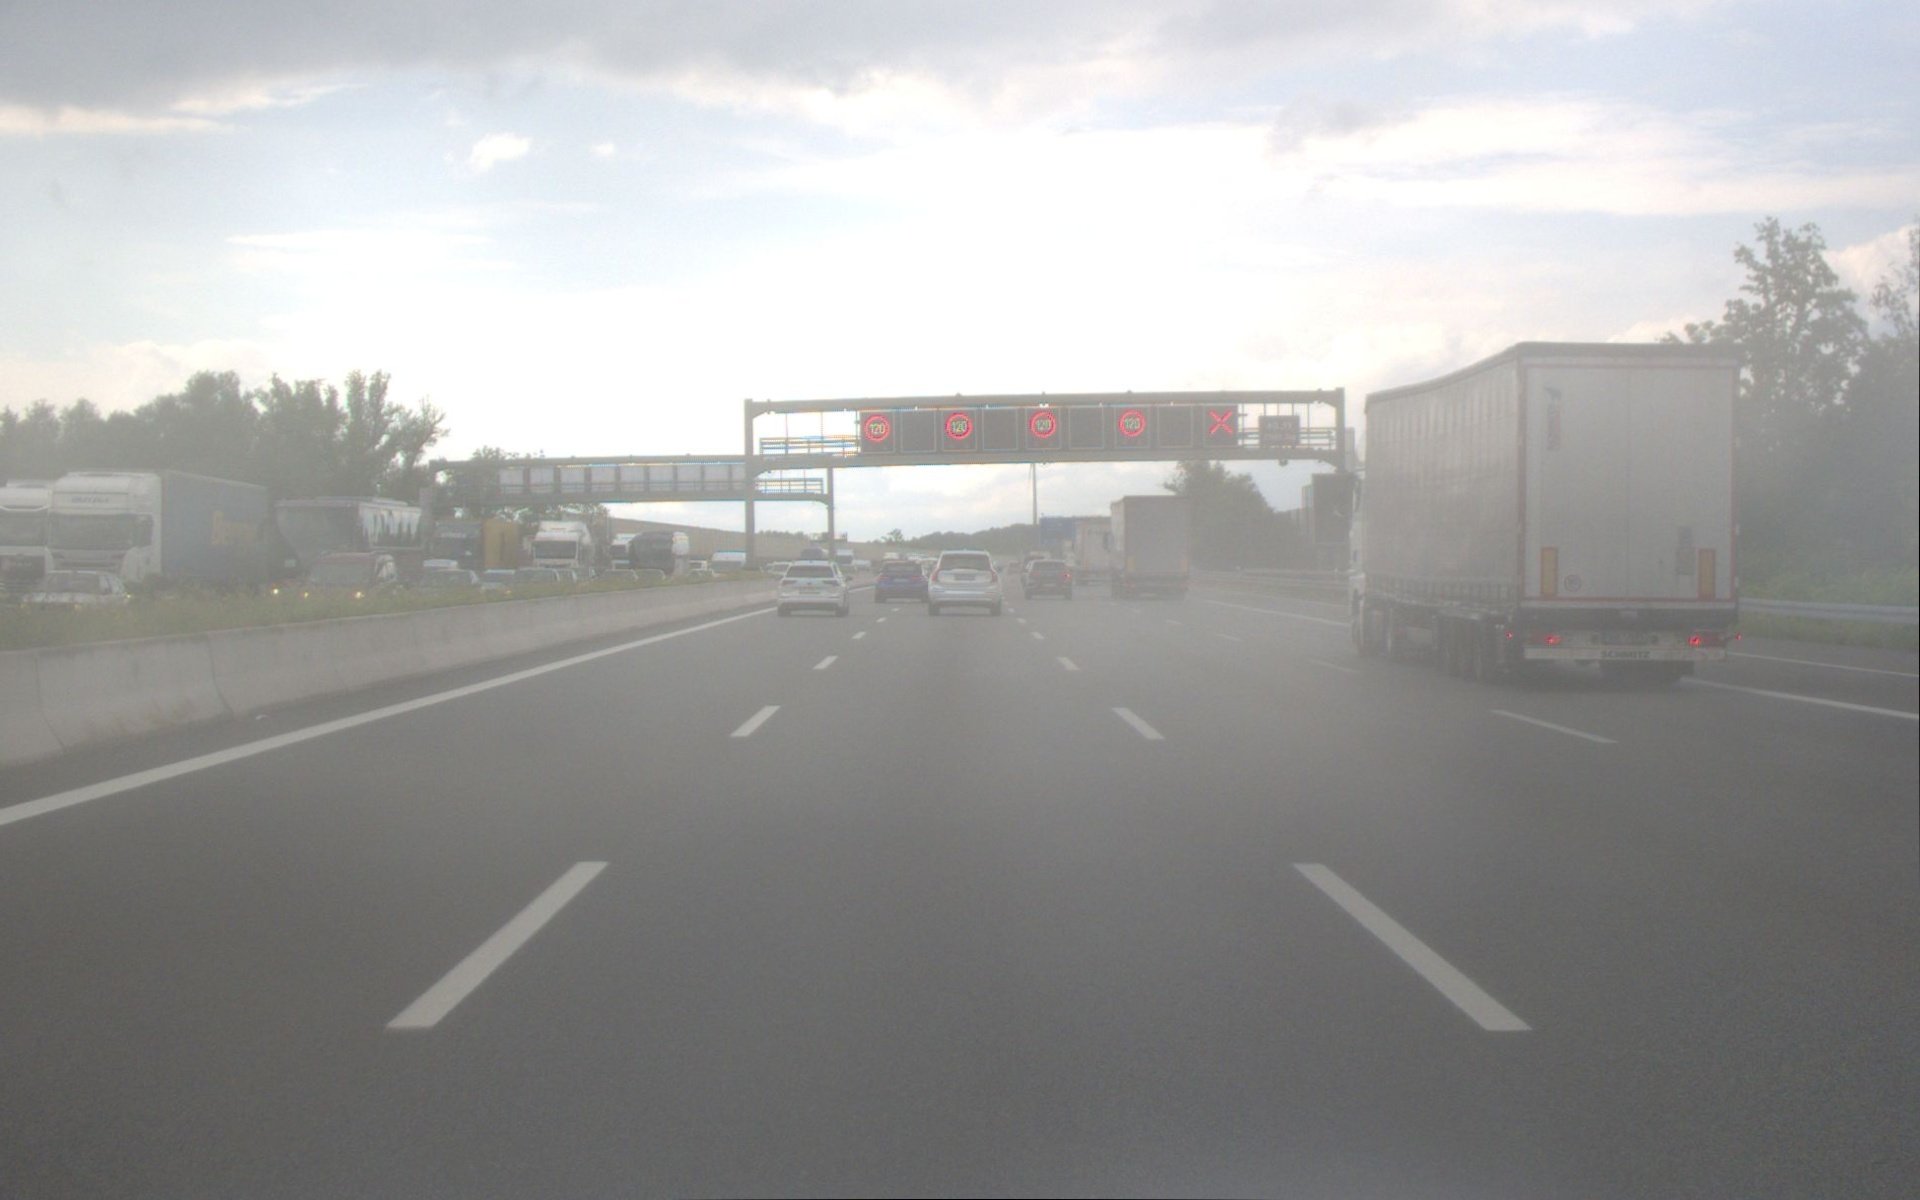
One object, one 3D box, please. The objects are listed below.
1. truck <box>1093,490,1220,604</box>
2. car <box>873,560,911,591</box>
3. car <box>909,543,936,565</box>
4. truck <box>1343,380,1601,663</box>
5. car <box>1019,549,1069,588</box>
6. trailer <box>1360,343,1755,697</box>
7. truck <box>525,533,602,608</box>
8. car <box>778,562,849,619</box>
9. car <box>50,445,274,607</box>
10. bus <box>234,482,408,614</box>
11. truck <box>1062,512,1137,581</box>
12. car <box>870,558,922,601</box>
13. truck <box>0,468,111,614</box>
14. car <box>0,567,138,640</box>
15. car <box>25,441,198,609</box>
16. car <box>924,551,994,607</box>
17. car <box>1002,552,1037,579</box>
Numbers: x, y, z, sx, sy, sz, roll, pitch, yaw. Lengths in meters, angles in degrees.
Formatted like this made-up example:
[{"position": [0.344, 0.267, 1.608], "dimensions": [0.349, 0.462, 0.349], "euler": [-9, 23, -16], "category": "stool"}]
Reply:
[{"position": [7.782, -2.108, 138.096], "dimensions": [4.180, 4.273, 12.613], "euler": [1, 1, -1], "category": "truck"}, {"position": [-3.300, -1.216, 167.231], "dimensions": [1.772, 1.436, 4.056], "euler": [0, 1, -2], "category": "car"}, {"position": [-2.493, -3.109, 231.562], "dimensions": [1.772, 1.436, 4.055], "euler": [0, 1, 0], "category": "car"}, {"position": [7.657, -1.169, 52.255], "dimensions": [2.961, 4.006, 6.589], "euler": [0, 1, 1], "category": "truck"}, {"position": [3.233, -1.230, 133.285], "dimensions": [1.836, 1.436, 4.055], "euler": [0, 1, 0], "category": "car"}, {"position": [7.610, -1.030, 46.132], "dimensions": [2.961, 4.006, 14.118], "euler": [0, 1, 1], "category": "trailer"}, {"position": [-21.399, -1.609, 185.714], "dimensions": [2.886, 3.948, 7.535], "euler": [1, 1, 3], "category": "truck"}, {"position": [-3.823, -0.271, 90.067], "dimensions": [1.772, 1.436, 3.874], "euler": [0, 1, -1], "category": "car"}, {"position": [-21.863, -1.979, 95.175], "dimensions": [2.982, 4.109, 14.396], "euler": [1, 1, -1], "category": "car"}, {"position": [-18.818, -1.525, 102.062], "dimensions": [2.890, 3.599, 12.760], "euler": [1, 1, -1], "category": "bus"}, {"position": [8.790, -3.373, 217.969], "dimensions": [4.244, 4.162, 11.989], "euler": [1, 1, 0], "category": "truck"}, {"position": [-2.256, -0.739, 119.980], "dimensions": [1.772, 1.436, 4.056], "euler": [0, 1, -1], "category": "car"}, {"position": [-27.069, -1.720, 100.503], "dimensions": [2.900, 4.102, 6.623], "euler": [1, 1, -1], "category": "truck"}, {"position": [-18.761, 0.046, 72.504], "dimensions": [1.787, 1.450, 4.565], "euler": [1, 1, -1], "category": "car"}, {"position": [-21.757, -1.896, 88.458], "dimensions": [2.982, 4.135, 6.043], "euler": [1, 1, -1], "category": "car"}, {"position": [-0.056, -0.583, 92.741], "dimensions": [1.772, 1.436, 4.056], "euler": [0, 1, -1], "category": "car"}, {"position": [3.252, -1.907, 187.197], "dimensions": [1.836, 1.436, 4.055], "euler": [0, 1, 0], "category": "car"}]
